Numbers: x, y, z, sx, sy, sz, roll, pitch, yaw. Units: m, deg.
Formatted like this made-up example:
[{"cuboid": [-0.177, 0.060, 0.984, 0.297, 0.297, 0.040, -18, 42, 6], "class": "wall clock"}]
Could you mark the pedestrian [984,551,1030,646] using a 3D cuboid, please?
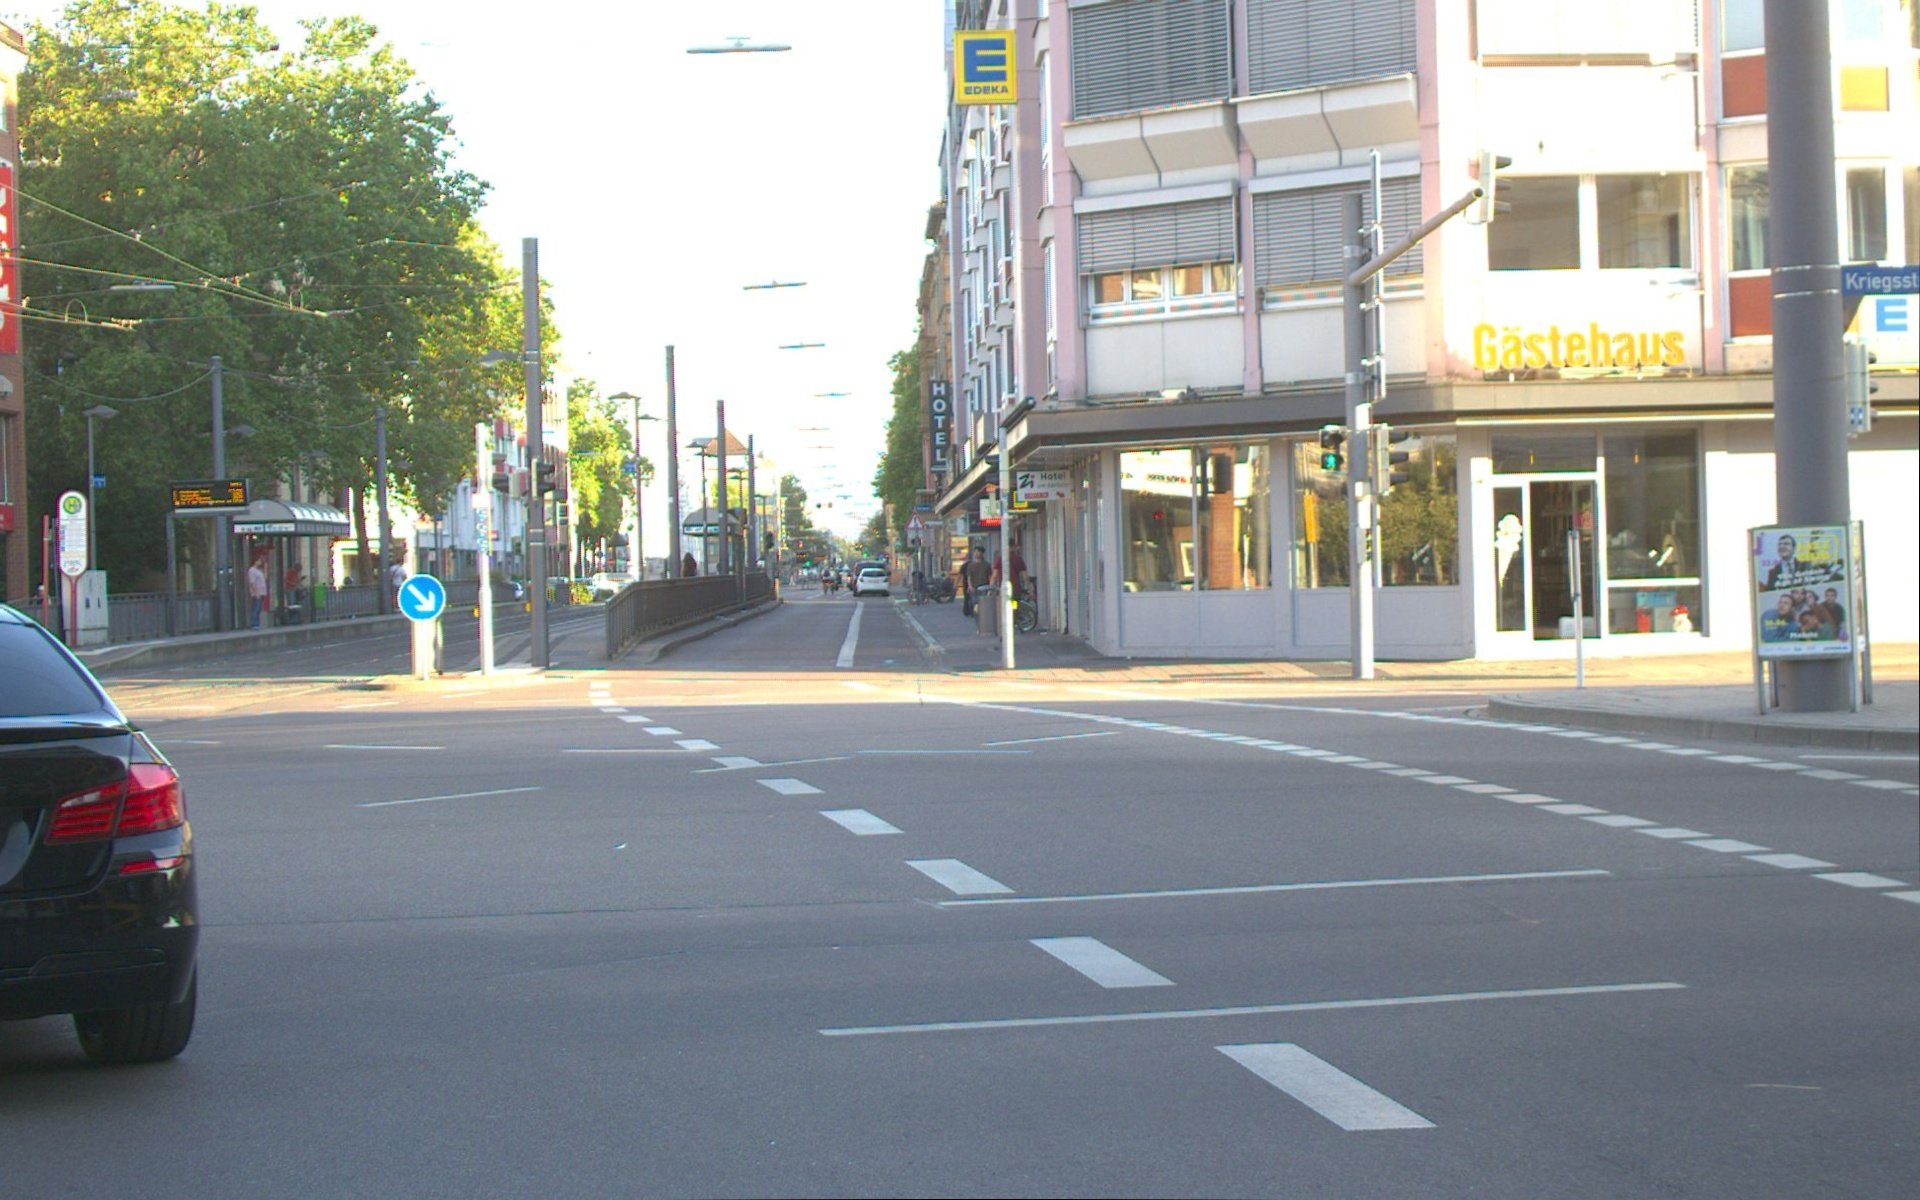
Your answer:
[{"cuboid": [0.793, -0.034, 57.941, 0.705, 1.543, 0.907, 0, 4, -4], "class": "pedestrian"}]

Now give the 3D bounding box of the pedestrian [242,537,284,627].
[{"cuboid": [-15.757, -0.408, 77.690, 0.808, 2.007, 0.678, -2, 1, -5], "class": "pedestrian"}]

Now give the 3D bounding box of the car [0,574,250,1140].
[{"cuboid": [-3.754, 0.662, 11.011, 1.841, 1.490, 4.293, 1, 1, -27], "class": "car"}]
